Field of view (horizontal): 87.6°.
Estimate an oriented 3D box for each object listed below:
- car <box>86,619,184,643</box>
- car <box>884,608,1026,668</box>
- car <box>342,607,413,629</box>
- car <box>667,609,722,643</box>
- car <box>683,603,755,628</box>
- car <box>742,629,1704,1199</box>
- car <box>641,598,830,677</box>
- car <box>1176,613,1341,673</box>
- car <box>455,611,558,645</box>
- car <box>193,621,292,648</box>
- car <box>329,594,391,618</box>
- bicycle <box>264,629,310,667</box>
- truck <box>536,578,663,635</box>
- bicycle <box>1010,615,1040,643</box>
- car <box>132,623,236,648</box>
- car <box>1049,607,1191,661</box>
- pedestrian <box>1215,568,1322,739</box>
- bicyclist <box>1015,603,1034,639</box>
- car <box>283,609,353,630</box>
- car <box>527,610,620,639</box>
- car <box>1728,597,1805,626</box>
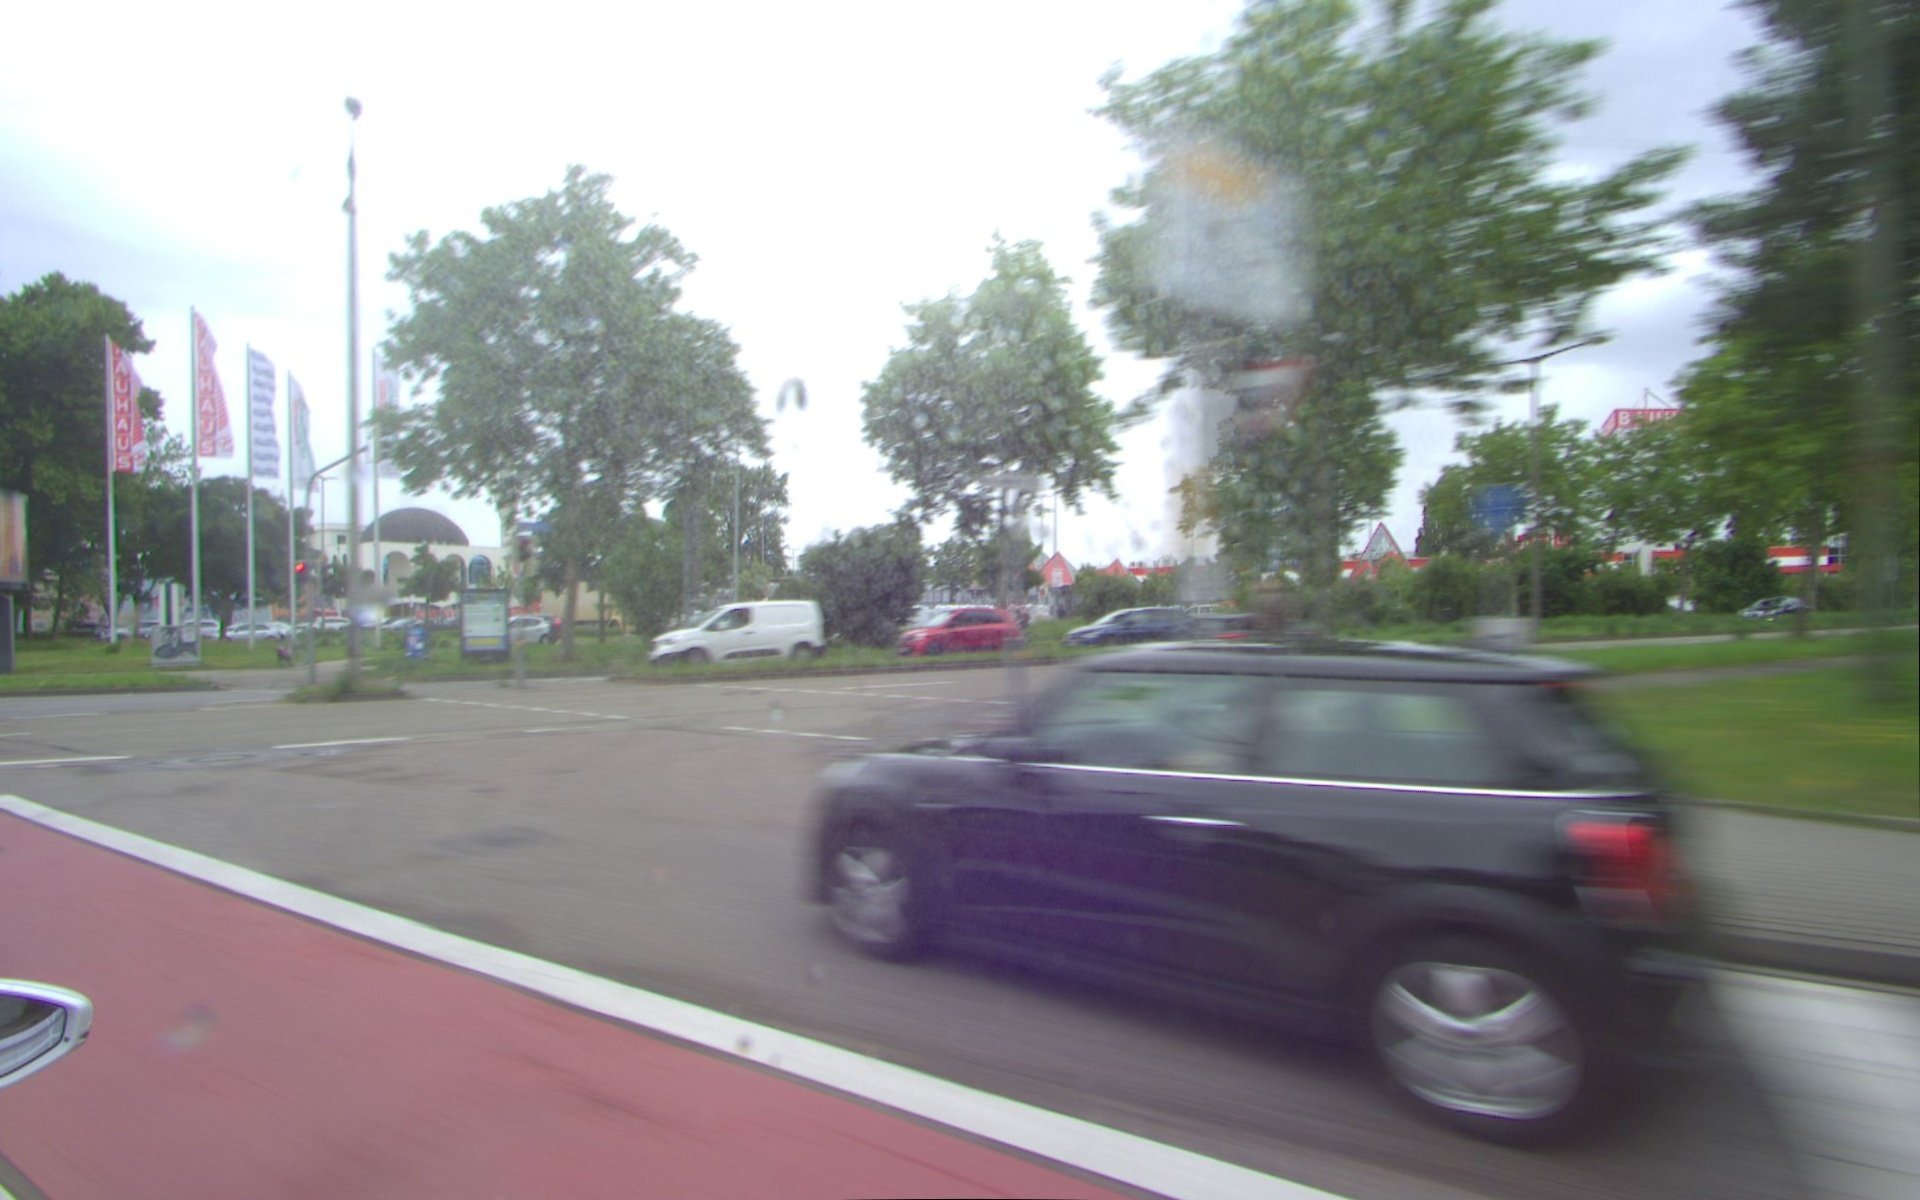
[{"bbox_3d":[-53.339,2.044,64.853,1.928,1.516,4.533,-1,-3,25],"label":"car"},{"bbox_3d":[-0.139,1.031,28.318,3.631,1.552,1.689,-1,0,-26],"label":"car"},{"bbox_3d":[-46.791,1.439,80.572,2.120,1.699,4.554,-1,0,24],"label":"car"},{"bbox_3d":[-12.554,1.261,47.170,1.797,1.516,4.222,1,-3,-25],"label":"car"},{"bbox_3d":[-15.462,0.981,64.454,1.958,1.526,4.546,-1,0,30],"label":"car"},{"bbox_3d":[0.906,0.858,4.373,3.728,1.450,1.673,-1,-2,39],"label":"car"},{"bbox_3d":[-5.738,0.931,25.652,4.355,1.852,1.873,-1,-2,-28],"label":"car"},{"bbox_3d":[6.818,0.961,22.879,3.365,1.297,1.647,1,-1,-24],"label":"car"},{"bbox_3d":[-21.232,1.358,47.064,1.900,1.516,4.223,-1,-3,25],"label":"car"},{"bbox_3d":[-42.482,2.066,59.407,1.900,1.516,4.446,-1,-3,25],"label":"car"},{"bbox_3d":[-67.848,0.640,113.260,2.042,2.570,5.736,-1,0,29],"label":"car"},{"bbox_3d":[-21.636,1.529,32.242,0.479,1.132,1.806,-1,0,-8],"label":"bicycle"},{"bbox_3d":[-24.785,0.536,68.642,9.110,3.609,2.937,-2,-2,29],"label":"truck"},{"bbox_3d":[2.841,1.237,43.384,0.573,1.164,1.886,-1,0,28],"label":"bicycle"},{"bbox_3d":[-48.218,2.225,62.297,2.137,1.516,4.674,-1,-3,27],"label":"car"},{"bbox_3d":[4.873,0.983,30.440,4.003,1.502,1.689,-1,0,-26],"label":"car"},{"bbox_3d":[3.121,0.520,10.182,0.731,1.661,0.777,-1,0,-16],"label":"pedestrian"},{"bbox_3d":[2.798,0.906,43.303,0.573,1.540,0.756,0,1,28],"label":"bicyclist"},{"bbox_3d":[-54.058,1.606,84.426,2.120,1.699,4.554,-1,0,24],"label":"car"},{"bbox_3d":[-20.935,1.344,54.431,4.531,1.516,1.929,0,-2,-16],"label":"car"},{"bbox_3d":[43.443,0.615,53.924,4.003,1.502,1.689,-1,0,-26],"label":"car"}]
